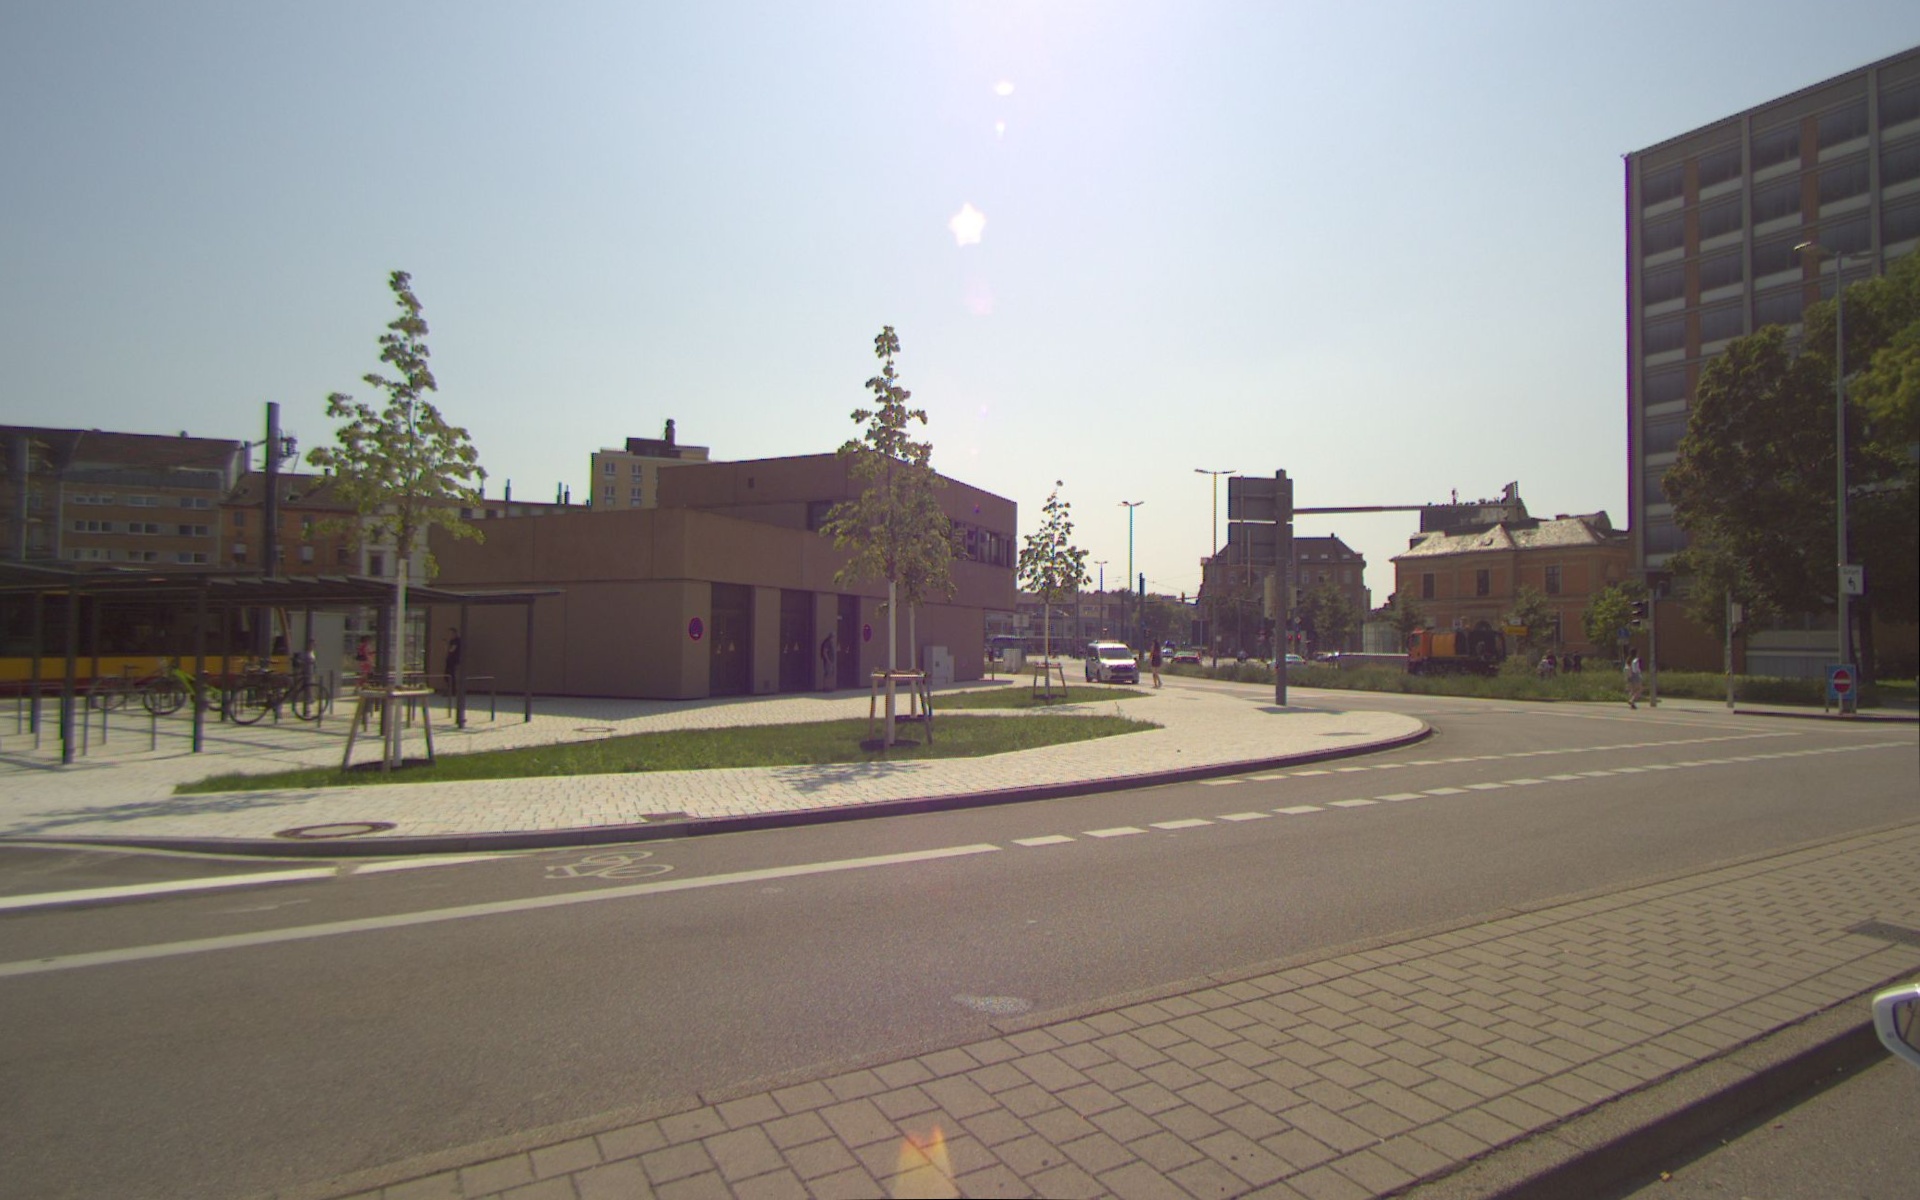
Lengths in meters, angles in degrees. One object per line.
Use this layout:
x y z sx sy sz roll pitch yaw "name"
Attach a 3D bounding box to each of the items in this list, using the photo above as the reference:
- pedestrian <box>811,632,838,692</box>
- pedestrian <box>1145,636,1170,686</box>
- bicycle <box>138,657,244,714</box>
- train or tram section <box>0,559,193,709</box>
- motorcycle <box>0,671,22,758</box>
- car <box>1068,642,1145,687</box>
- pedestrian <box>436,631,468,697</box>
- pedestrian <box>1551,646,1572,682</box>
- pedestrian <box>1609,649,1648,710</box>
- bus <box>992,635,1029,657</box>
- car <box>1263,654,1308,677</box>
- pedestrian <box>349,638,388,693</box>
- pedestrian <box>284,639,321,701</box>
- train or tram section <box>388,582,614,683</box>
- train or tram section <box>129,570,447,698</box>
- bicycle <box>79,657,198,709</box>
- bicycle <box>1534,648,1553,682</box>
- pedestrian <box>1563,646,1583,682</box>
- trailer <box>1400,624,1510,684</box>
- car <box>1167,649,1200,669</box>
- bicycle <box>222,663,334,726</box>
-3.840 1.754 28.540 0.558 1.700 0.536 0 -2 24 "pedestrian"
6.951 2.147 35.357 0.616 1.725 0.786 0 -2 -8 "pedestrian"
-15.324 1.684 20.069 0.503 1.054 1.736 0 -2 12 "bicycle"
-24.700 0.881 25.144 3.102 3.645 8.241 -2 -2 24 "train or tram section"
-12.675 1.435 12.213 0.482 1.083 1.777 -1 -3 27 "motorcycle"
6.580 2.862 45.628 1.966 1.884 4.324 -1 -2 -13 "car"
-13.226 1.665 26.156 0.435 1.700 0.568 0 -2 24 "pedestrian"
33.719 3.579 56.323 0.764 1.999 0.754 0 -2 12 "pedestrian"
18.995 2.242 28.547 0.688 1.717 0.606 1 -2 -13 "pedestrian"
7.278 6.543 142.395 3.002 2.969 11.861 0 -3 14 "bus"
23.385 4.711 72.274 1.729 1.474 4.426 2 -2 -1 "car"
-15.559 1.720 26.421 0.436 1.429 0.744 -1 -2 28 "pedestrian"
-15.411 1.627 23.554 0.660 1.429 0.440 2 -2 -32 "pedestrian"
-17.991 1.305 40.122 3.085 3.616 8.240 -2 -2 24 "train or tram section"
-21.333 1.106 32.642 3.085 3.616 8.240 -2 -2 24 "train or tram section"
-16.949 1.696 20.778 0.503 0.998 1.856 -1 -3 23 "bicycle"
32.694 3.649 56.305 0.447 1.884 1.364 0 -2 10 "bicycle"
34.674 3.615 56.835 0.764 1.999 0.754 0 -2 12 "pedestrian"
27.525 2.982 56.143 2.425 3.047 6.320 3 -2 -7 "trailer"
17.193 4.525 77.314 1.728 1.422 3.983 2 -2 2 "car"
-12.422 1.699 18.349 0.503 1.054 1.735 -1 -2 18 "bicycle"
